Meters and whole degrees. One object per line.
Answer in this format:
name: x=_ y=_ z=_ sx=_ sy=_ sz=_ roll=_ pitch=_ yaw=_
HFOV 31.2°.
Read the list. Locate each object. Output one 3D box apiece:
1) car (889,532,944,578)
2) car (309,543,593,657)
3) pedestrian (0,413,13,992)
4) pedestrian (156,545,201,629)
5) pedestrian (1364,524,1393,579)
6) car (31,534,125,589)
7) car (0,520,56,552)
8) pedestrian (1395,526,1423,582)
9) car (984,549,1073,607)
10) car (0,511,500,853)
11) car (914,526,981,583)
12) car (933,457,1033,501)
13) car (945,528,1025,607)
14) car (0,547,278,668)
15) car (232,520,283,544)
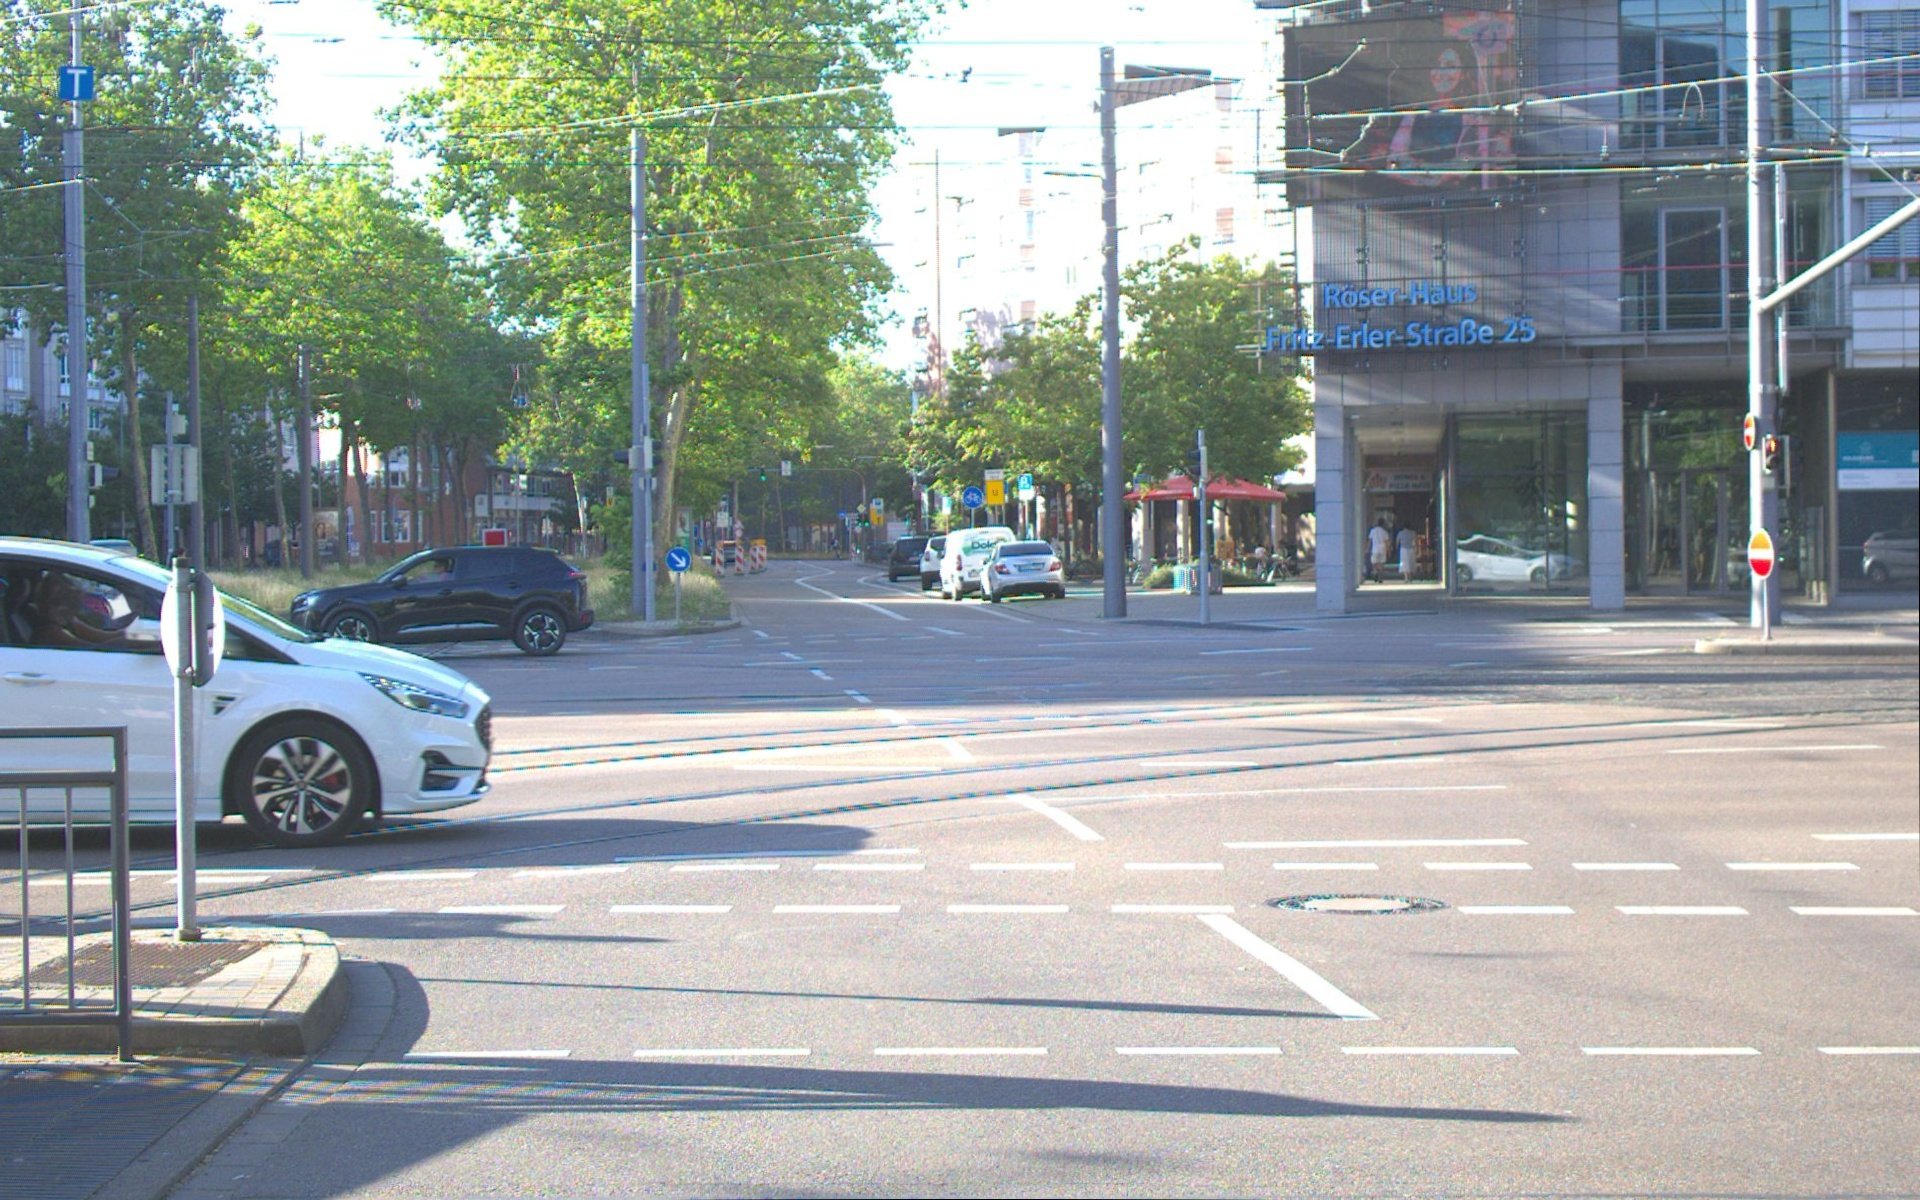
car: x=-1.604 y=-1.671 z=126.726 sx=1.993 sy=1.656 sz=4.000 roll=-1 pitch=1 yaw=-1
car: x=-7.188 y=-0.022 z=48.500 sx=3.859 sy=1.502 sz=1.796 roll=-1 pitch=1 yaw=-10
pedestrian: x=-3.583 y=0.327 z=10.419 sx=1.208 sy=1.816 sz=1.042 roll=-1 pitch=1 yaw=-6
pedestrian: x=-14.282 y=-0.233 z=62.829 sx=0.754 sy=1.525 sz=0.508 roll=0 pitch=1 yaw=-7
pedestrian: x=11.162 y=-1.302 z=91.646 sx=0.739 sy=1.460 sz=0.536 roll=-1 pitch=1 yaw=9
car: x=-24.996 y=-1.111 z=97.553 sx=1.993 sy=1.503 sz=4.001 roll=-1 pitch=1 yaw=-6
car: x=-47.617 y=-3.200 z=172.604 sx=3.987 sy=1.547 sz=1.607 roll=1 pitch=1 yaw=-31
pedestrian: x=11.927 y=-1.217 z=91.258 sx=0.706 sy=1.460 sz=0.384 roll=-1 pitch=1 yaw=9
car: x=1.623 y=-0.542 z=82.864 sx=1.993 sy=1.327 sz=4.000 roll=-1 pitch=1 yaw=-1
car: x=-4.947 y=0.405 z=18.467 sx=4.833 sy=1.721 sz=2.000 roll=-1 pitch=1 yaw=-6
car: x=-0.393 y=-1.404 z=105.009 sx=1.993 sy=1.656 sz=4.000 roll=-1 pitch=1 yaw=-1
car: x=0.933 y=-4.964 z=141.198 sx=3.764 sy=1.744 sz=1.780 roll=1 pitch=0 yaw=14
car: x=0.633 y=-0.878 z=89.699 sx=1.993 sy=1.985 sz=4.000 roll=-1 pitch=1 yaw=-1
car: x=-10.787 y=0.084 z=43.308 sx=4.239 sy=1.429 sz=1.796 roll=-1 pitch=1 yaw=-10
car: x=-44.351 y=-4.284 z=217.159 sx=1.994 sy=1.503 sz=3.999 roll=-1 pitch=1 yaw=7
